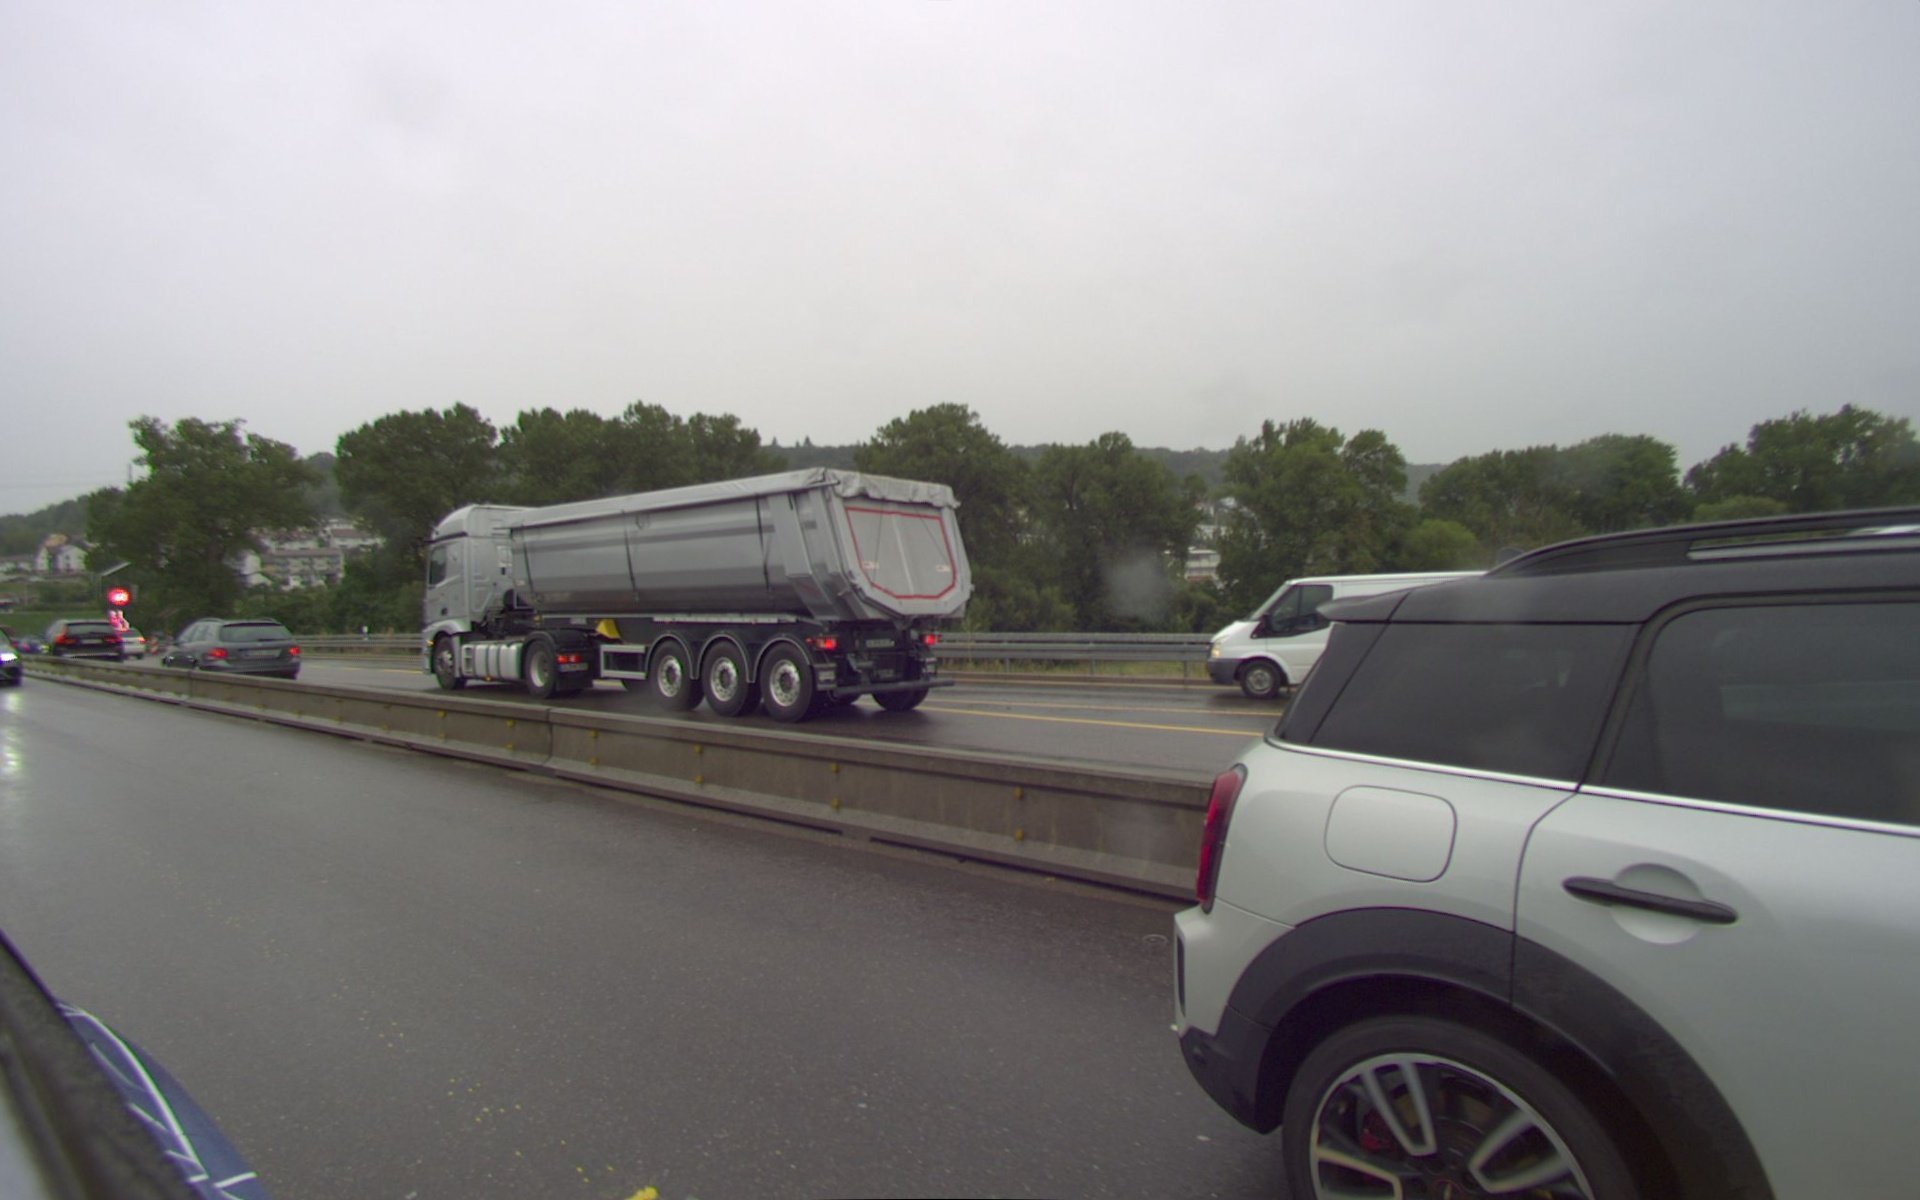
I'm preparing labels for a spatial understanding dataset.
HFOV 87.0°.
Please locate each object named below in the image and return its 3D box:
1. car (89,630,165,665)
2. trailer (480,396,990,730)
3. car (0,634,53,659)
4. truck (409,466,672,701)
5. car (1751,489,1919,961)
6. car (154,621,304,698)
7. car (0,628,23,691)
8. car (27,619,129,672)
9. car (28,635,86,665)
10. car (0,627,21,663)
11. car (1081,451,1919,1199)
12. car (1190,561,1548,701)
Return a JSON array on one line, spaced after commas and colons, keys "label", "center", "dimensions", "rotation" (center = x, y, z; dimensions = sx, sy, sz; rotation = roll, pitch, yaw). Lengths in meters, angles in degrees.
[{"label": "car", "center": [-39.848, 2.298, 48.372], "dimensions": [4.263, 1.589, 1.828], "rotation": [-3, -4, 37]}, {"label": "trailer", "center": [-4.170, -0.319, 16.274], "dimensions": [9.812, 3.994, 2.658], "rotation": [-2, -2, 41]}, {"label": "car", "center": [-62.196, 3.102, 67.362], "dimensions": [4.741, 1.522, 1.974], "rotation": [-3, -1, 39]}, {"label": "truck", "center": [-8.290, -0.201, 19.789], "dimensions": [5.270, 3.957, 2.658], "rotation": [-2, -2, 40]}, {"label": "car", "center": [5.926, 0.435, 3.166], "dimensions": [5.355, 1.806, 1.855], "rotation": [-2, -1, 40]}, {"label": "car", "center": [-15.614, 1.208, 21.544], "dimensions": [3.997, 1.464, 1.692], "rotation": [-2, -1, 40]}, {"label": "car", "center": [-24.165, 1.429, 24.339], "dimensions": [4.481, 1.449, 1.926], "rotation": [-2, -1, 41]}, {"label": "car", "center": [-29.964, 1.518, 34.360], "dimensions": [4.467, 1.668, 1.973], "rotation": [-2, -2, 41]}, {"label": "car", "center": [-49.420, 2.718, 55.352], "dimensions": [3.996, 1.508, 1.802], "rotation": [-4, -2, 40]}, {"label": "car", "center": [-48.804, 2.302, 50.763], "dimensions": [4.839, 1.762, 1.827], "rotation": [-3, -4, 39]}, {"label": "car", "center": [2.501, 0.566, 1.597], "dimensions": [4.306, 1.612, 1.797], "rotation": [-3, -1, 41]}, {"label": "car", "center": [6.418, 0.507, 16.474], "dimensions": [5.004, 2.029, 2.259], "rotation": [-1, -1, 18]}]
